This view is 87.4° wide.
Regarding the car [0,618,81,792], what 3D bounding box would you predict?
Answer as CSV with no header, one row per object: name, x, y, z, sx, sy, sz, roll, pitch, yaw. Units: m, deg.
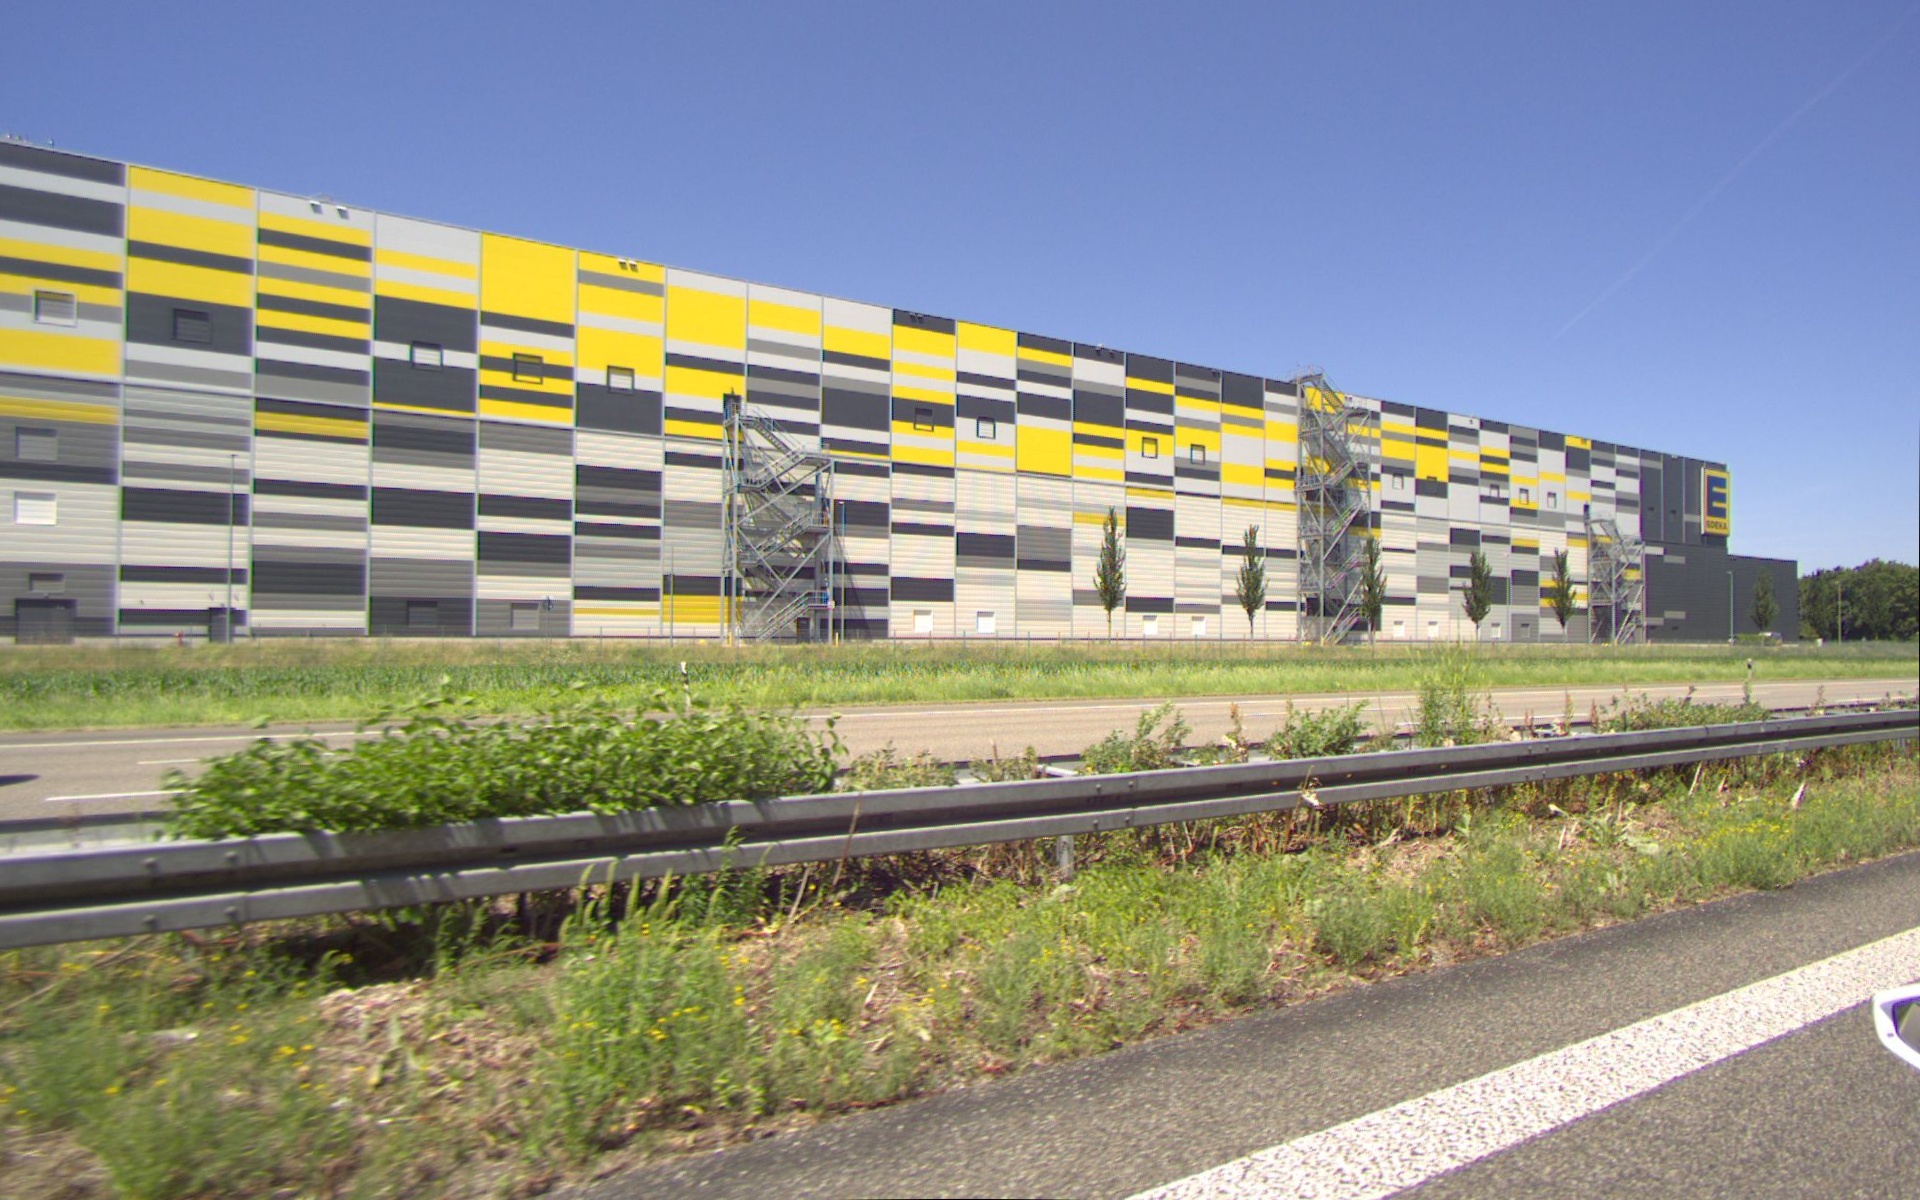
car,-10.777,0.905,8.692,4.430,1.552,1.791,2,-2,-30
